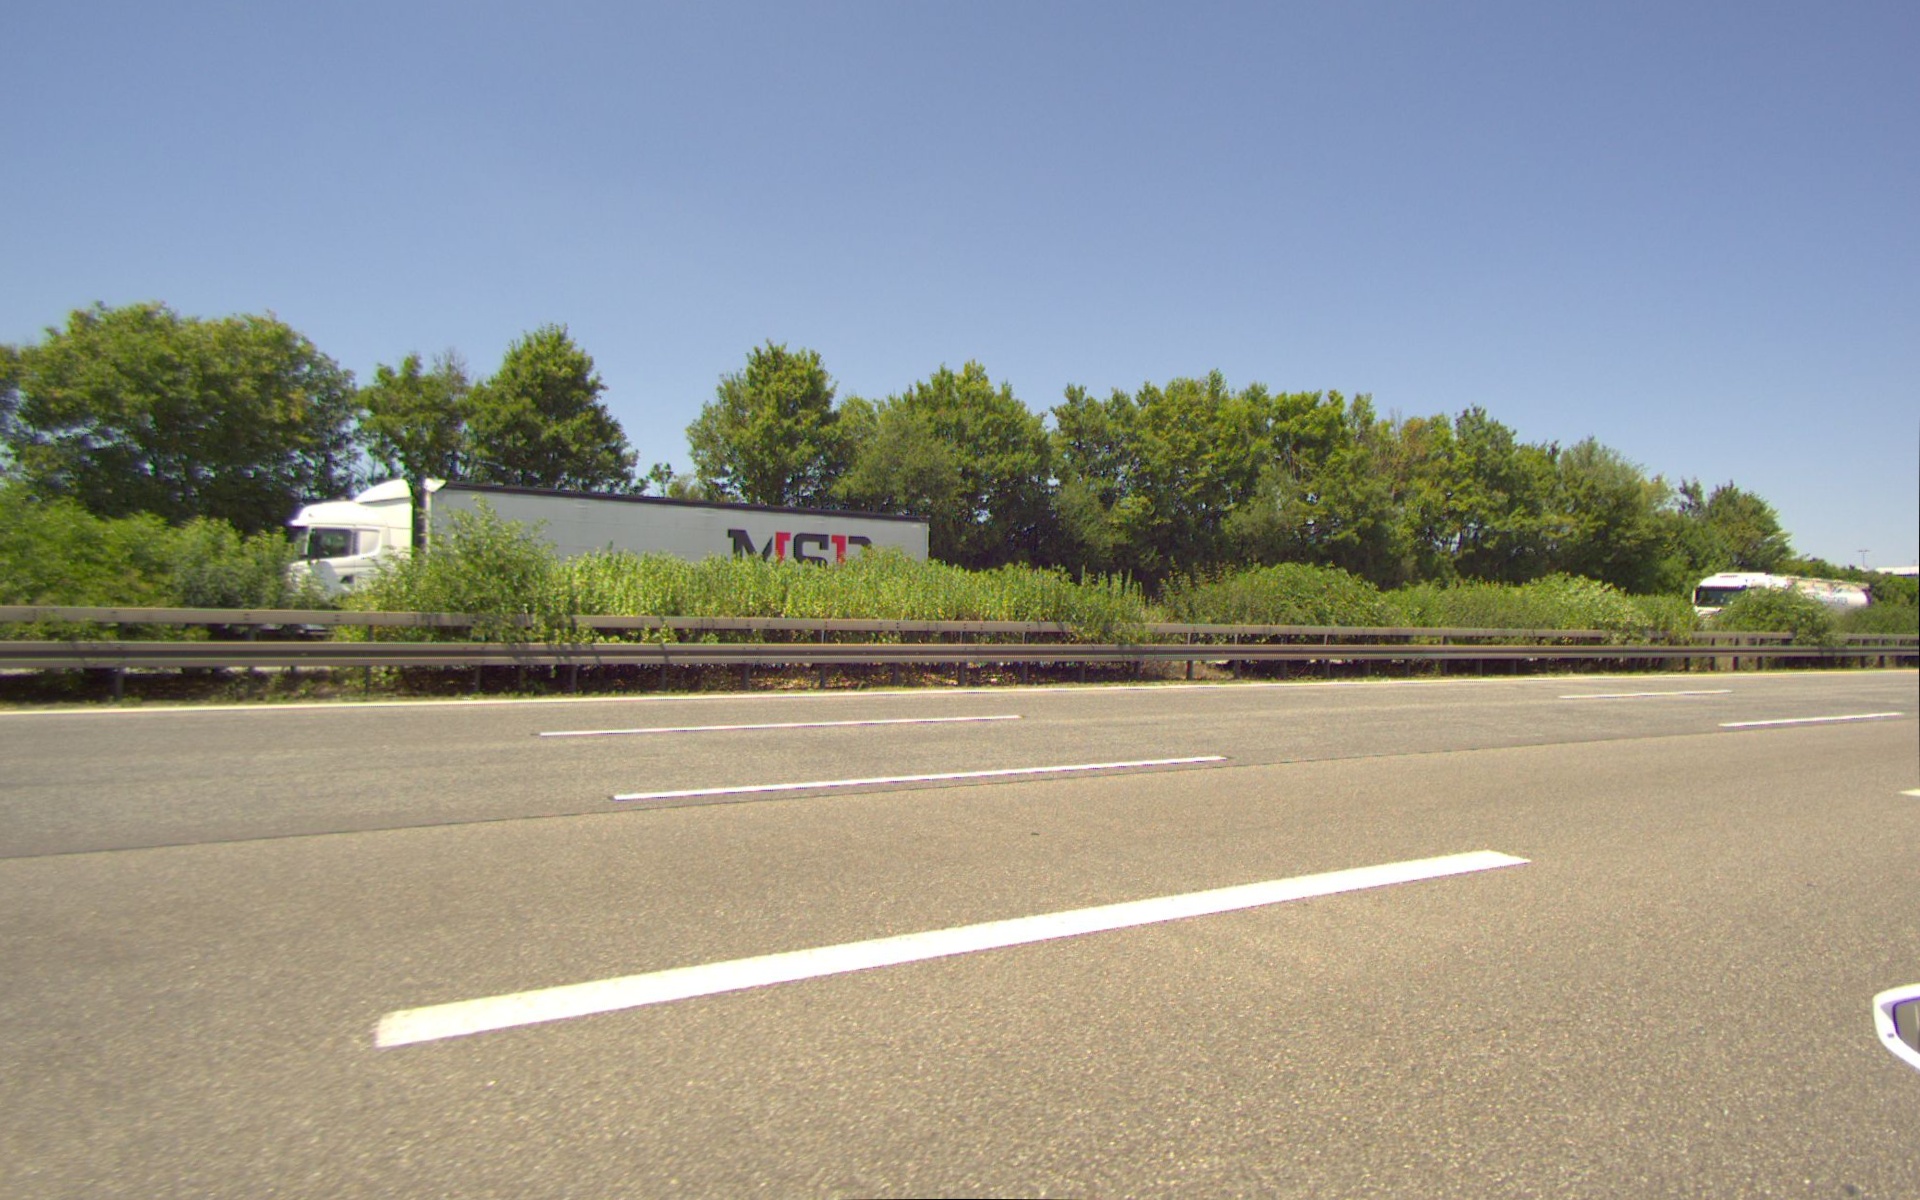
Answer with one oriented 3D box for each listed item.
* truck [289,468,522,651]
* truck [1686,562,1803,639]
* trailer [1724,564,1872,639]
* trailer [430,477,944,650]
[{"bbox_3d":[-13.790,-0.893,25.332,4.767,4.144,3.320,1,0,-28],"label":"truck"},{"bbox_3d":[41.782,0.048,53.469,5.670,3.941,2.686,1,1,-26],"label":"truck"},{"bbox_3d":[46.742,0.121,55.948,9.606,3.941,2.680,1,0,-27],"label":"trailer"},{"bbox_3d":[-7.362,-0.748,28.798,13.751,4.144,3.378,1,0,-28],"label":"trailer"}]
